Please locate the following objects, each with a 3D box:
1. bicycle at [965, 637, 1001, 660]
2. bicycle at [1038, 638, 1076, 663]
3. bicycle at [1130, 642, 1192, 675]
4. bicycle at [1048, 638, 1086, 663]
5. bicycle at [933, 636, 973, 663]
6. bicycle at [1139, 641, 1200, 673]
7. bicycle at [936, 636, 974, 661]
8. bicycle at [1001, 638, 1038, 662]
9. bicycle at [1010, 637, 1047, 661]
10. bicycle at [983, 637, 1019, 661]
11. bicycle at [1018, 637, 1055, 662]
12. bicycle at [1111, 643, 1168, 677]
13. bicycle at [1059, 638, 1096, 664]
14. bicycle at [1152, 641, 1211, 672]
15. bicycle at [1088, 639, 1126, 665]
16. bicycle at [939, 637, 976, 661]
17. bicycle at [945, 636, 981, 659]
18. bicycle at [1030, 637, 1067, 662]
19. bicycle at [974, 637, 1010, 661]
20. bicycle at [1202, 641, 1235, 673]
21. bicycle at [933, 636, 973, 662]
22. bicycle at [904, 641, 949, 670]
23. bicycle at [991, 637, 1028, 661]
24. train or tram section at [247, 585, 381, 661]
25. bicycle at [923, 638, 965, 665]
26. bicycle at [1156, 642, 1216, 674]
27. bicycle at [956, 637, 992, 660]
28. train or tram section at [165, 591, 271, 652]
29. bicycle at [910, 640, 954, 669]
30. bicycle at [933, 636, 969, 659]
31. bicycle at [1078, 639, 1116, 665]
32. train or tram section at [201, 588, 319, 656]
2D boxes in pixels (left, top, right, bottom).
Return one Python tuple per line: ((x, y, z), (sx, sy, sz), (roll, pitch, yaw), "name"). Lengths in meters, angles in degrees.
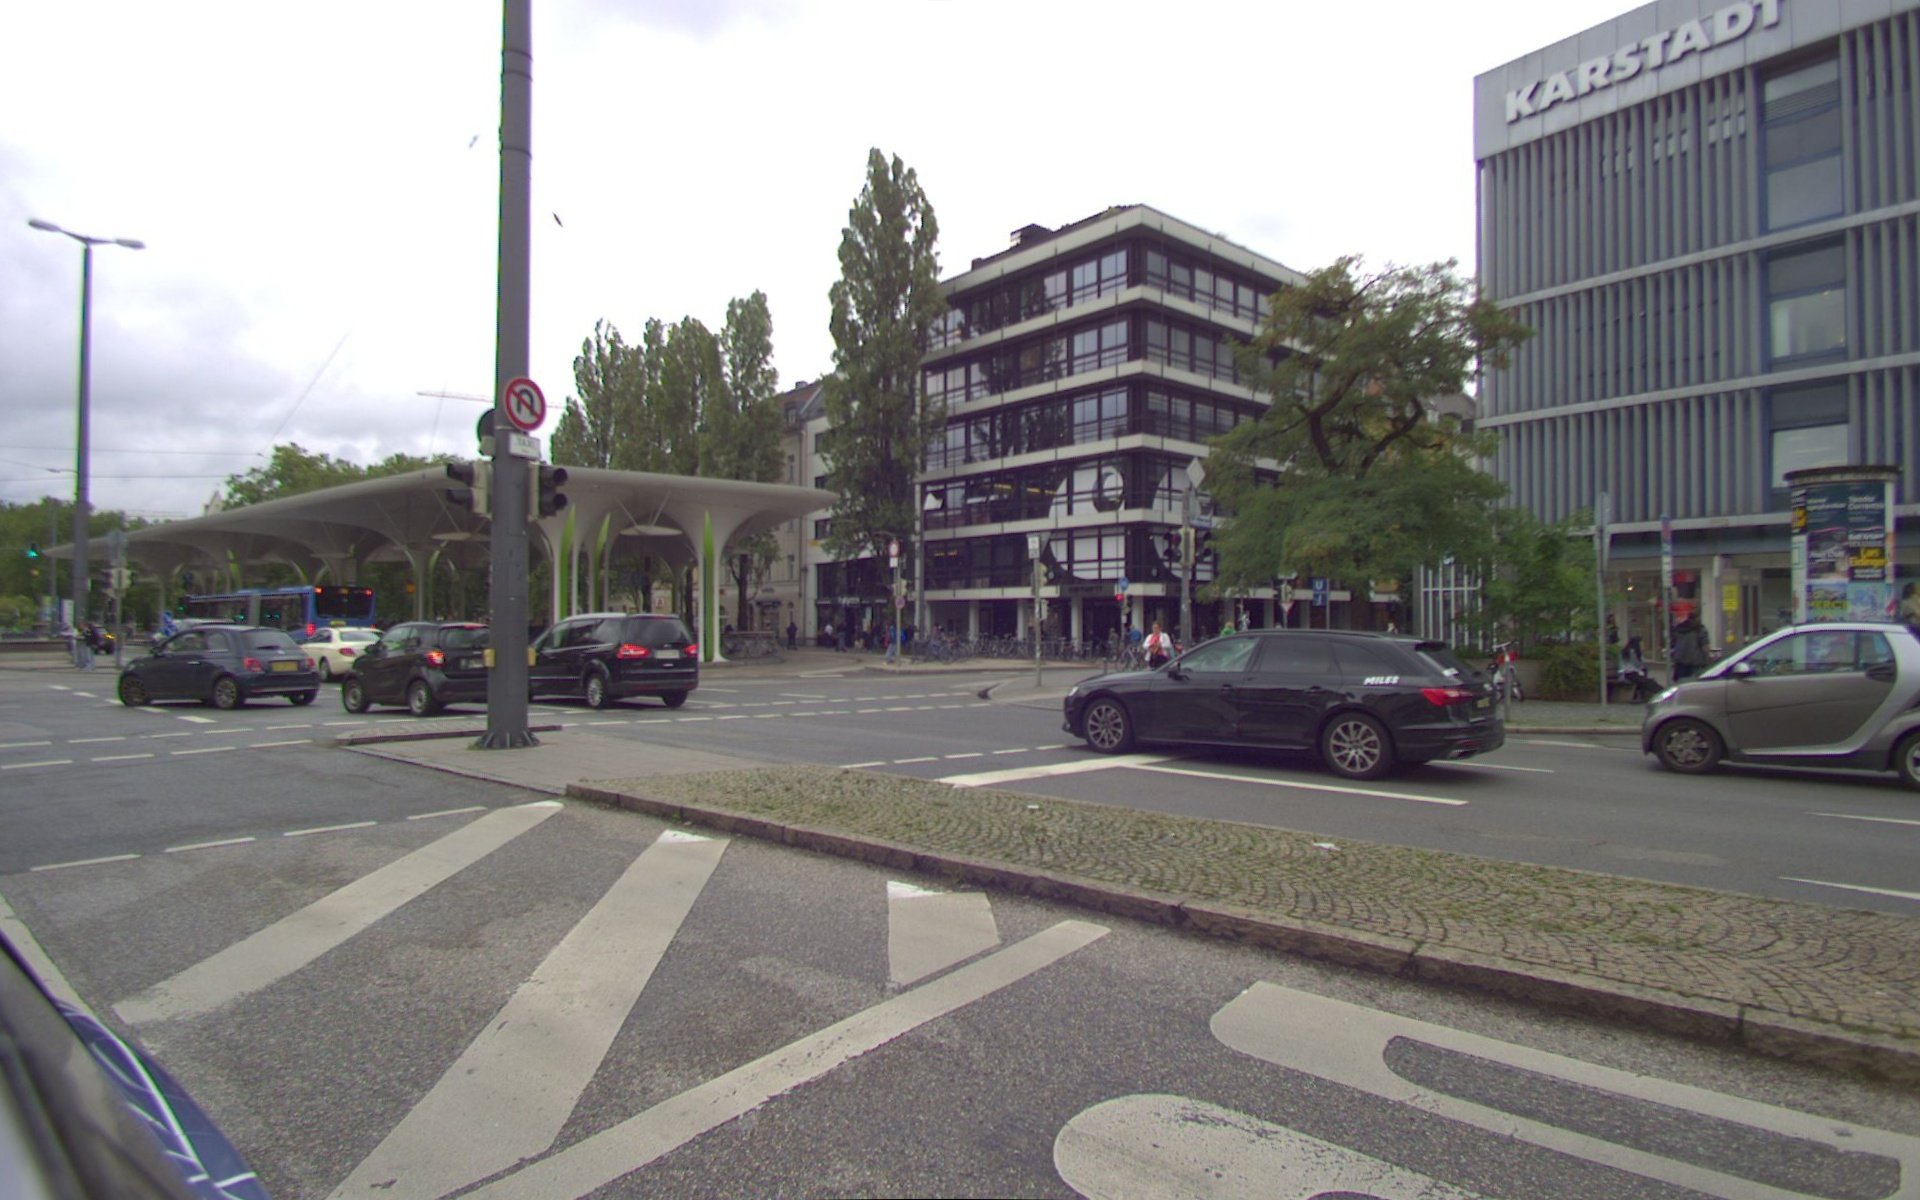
((1.171, 2.448, 51.352), (2.044, 1.142, 0.561), (2, -3, -45), "bicycle")
((4.581, 2.356, 47.676), (2.044, 1.142, 0.561), (2, -3, -45), "bicycle")
((6.393, 1.840, 32.267), (1.924, 1.006, 0.503), (-2, -2, 41), "bicycle")
((5.009, 2.351, 47.249), (2.044, 1.142, 0.561), (2, -3, -45), "bicycle")
((-0.292, 2.112, 43.189), (1.660, 1.106, 0.470), (-1, -2, 16), "bicycle")
((6.777, 1.835, 32.763), (1.924, 1.006, 0.503), (-2, -2, 41), "bicycle")
((-0.213, 2.138, 44.848), (1.655, 1.106, 0.472), (0, -2, 7), "bicycle")
((2.926, 2.426, 49.604), (2.044, 1.142, 0.561), (2, -3, -45), "bicycle")
((3.344, 2.372, 49.152), (2.044, 1.142, 0.561), (2, -3, -45), "bicycle")
((2.035, 2.437, 50.489), (2.044, 1.142, 0.561), (2, -3, -45), "bicycle")
((3.687, 2.368, 48.640), (2.044, 1.142, 0.561), (2, -3, -45), "bicycle")
((5.571, 1.854, 31.522), (1.750, 1.006, 0.503), (-2, -2, 41), "bicycle")
((5.445, 2.345, 46.814), (2.044, 1.142, 0.561), (2, -3, -45), "bicycle")
((7.417, 1.889, 33.944), (1.924, 1.006, 0.503), (-2, -2, 41), "bicycle")
((6.656, 2.330, 45.662), (2.044, 1.142, 0.561), (2, -3, -45), "bicycle")
((-0.105, 2.231, 46.114), (1.655, 1.106, 0.472), (0, -2, 7), "bicycle")
((0.162, 2.461, 52.259), (2.044, 1.142, 0.561), (2, -3, -45), "bicycle")
((4.201, 2.361, 48.150), (2.044, 1.142, 0.561), (2, -3, -45), "bicycle")
((1.599, 2.443, 50.910), (2.044, 1.142, 0.561), (2, -3, -45), "bicycle")
((8.554, 1.874, 33.593), (0.503, 1.006, 1.926), (0, -2, -3), "bicycle")
((-0.314, 2.112, 43.905), (1.660, 1.106, 0.470), (-1, -2, 16), "bicycle")
((-1.269, 2.127, 38.718), (1.660, 1.106, 0.470), (-1, -2, 16), "bicycle")
((2.452, 2.432, 50.078), (2.044, 1.142, 0.561), (2, -3, -45), "bicycle")
((-28.108, 1.021, 43.907), (7.401, 3.024, 2.804), (-2, -2, 40), "train or tram section")
((-0.670, 2.118, 41.831), (1.660, 1.106, 0.470), (-1, -2, 16), "bicycle")
((7.366, 1.890, 33.057), (1.924, 1.006, 0.503), (-2, -2, 41), "bicycle")
((0.715, 2.454, 51.771), (2.044, 1.142, 0.561), (2, -3, -45), "bicycle")
((-39.179, 1.166, 53.341), (7.401, 3.024, 2.804), (-2, -2, 40), "train or tram section")
((-1.078, 2.124, 39.500), (1.660, 1.106, 0.470), (-1, -2, 16), "bicycle")
((-0.470, 2.469, 52.813), (2.044, 1.142, 0.561), (2, -3, -45), "bicycle")
((6.244, 2.335, 46.039), (2.044, 1.142, 0.561), (2, -3, -45), "bicycle")
((-33.743, 1.097, 48.678), (7.401, 3.024, 2.804), (-2, -2, 40), "train or tram section")
